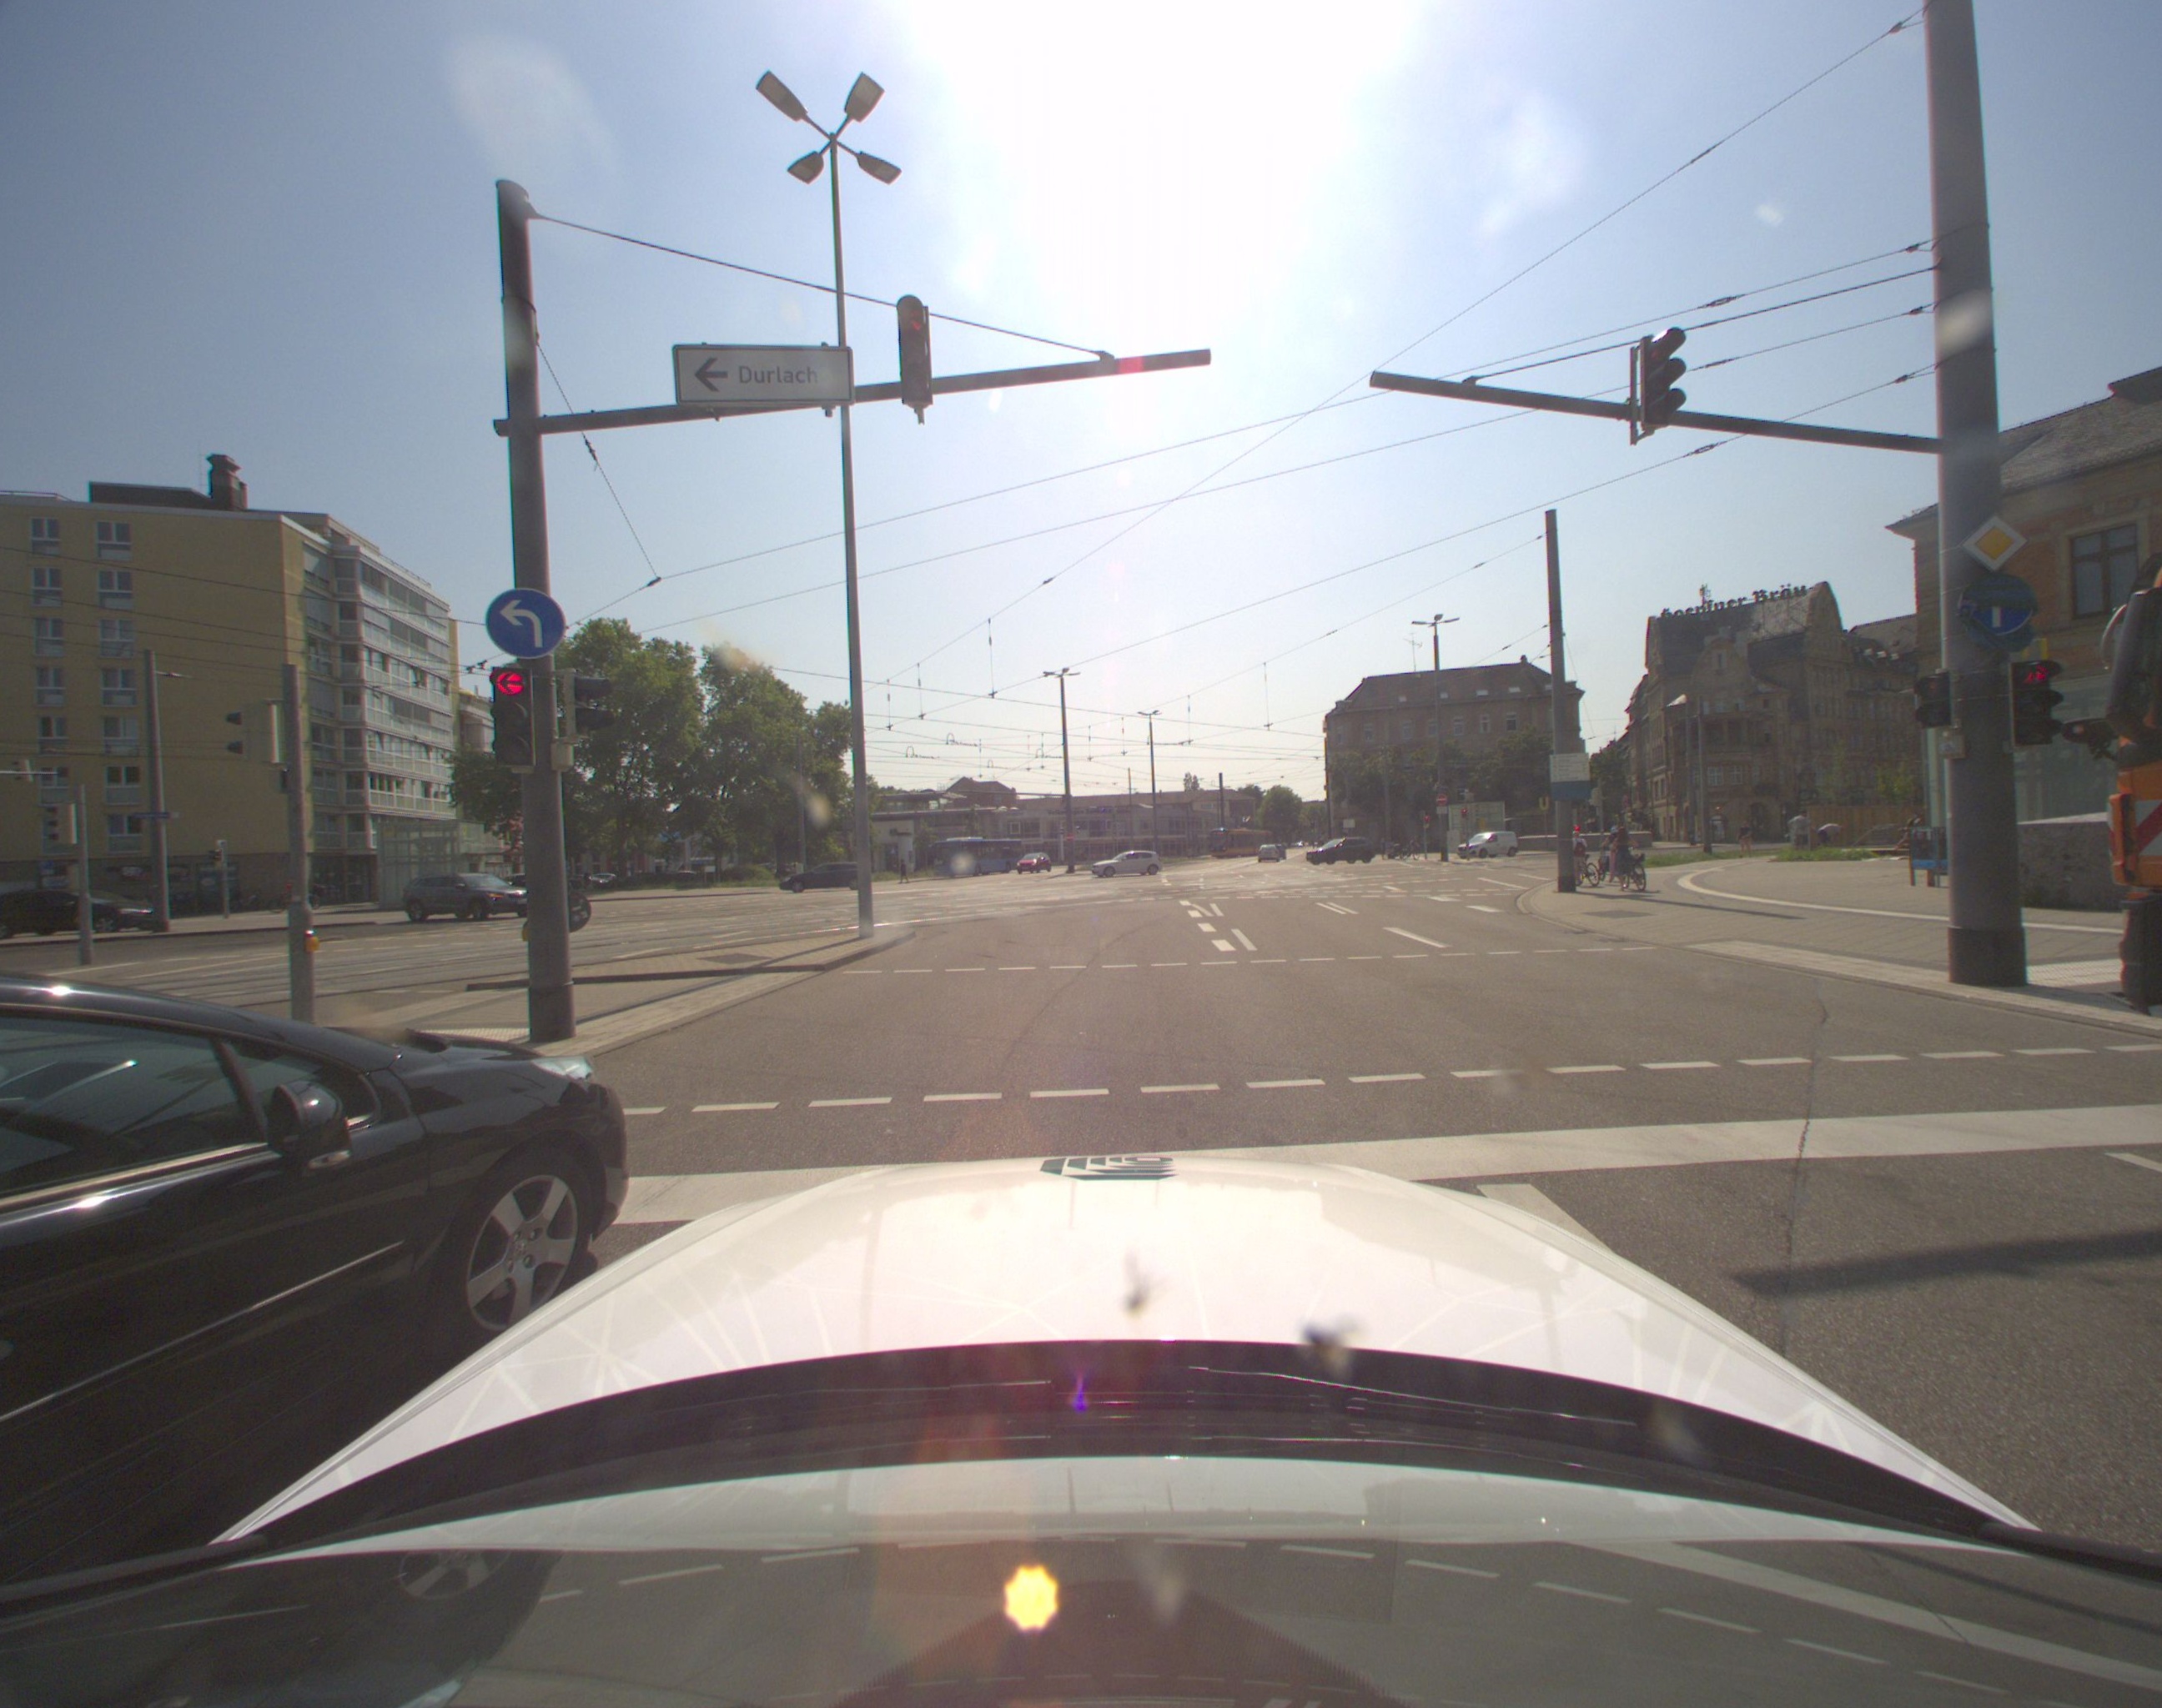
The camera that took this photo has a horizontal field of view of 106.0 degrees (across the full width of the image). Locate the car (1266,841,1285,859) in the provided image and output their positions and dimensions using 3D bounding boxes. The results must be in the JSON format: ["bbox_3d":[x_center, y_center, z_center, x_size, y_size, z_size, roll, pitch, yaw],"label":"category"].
[{"bbox_3d":[18.572,-0.371,77.802,1.625,1.618,4.016,-2,0,14],"label":"car"}]

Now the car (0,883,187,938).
[{"bbox_3d":[-33.802,1.904,27.778,4.194,1.560,1.734,-2,0,-9],"label":"car"}]

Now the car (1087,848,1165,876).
[{"bbox_3d":[2.606,0.473,47.302,4.199,1.415,1.765,-2,0,-18],"label":"car"}]

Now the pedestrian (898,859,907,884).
[{"bbox_3d":[-12.365,1.232,56.349,0.554,1.684,0.451,-2,0,-17],"label":"pedestrian"}]

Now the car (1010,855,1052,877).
[{"bbox_3d":[-3.840,0.939,63.601,1.735,1.552,4.020,-3,0,20],"label":"car"}]

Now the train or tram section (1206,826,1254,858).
[{"bbox_3d":[17.854,-1.459,96.704,2.564,3.516,10.963,-2,0,26],"label":"train or tram section"}]

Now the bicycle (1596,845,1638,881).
[{"bbox_3d":[16.407,0.256,24.983,0.532,1.055,1.660,-2,0,14],"label":"bicycle"}]

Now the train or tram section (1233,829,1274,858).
[{"bbox_3d":[22.522,-1.404,105.912,2.564,3.516,9.717,-2,0,27],"label":"train or tram section"}]

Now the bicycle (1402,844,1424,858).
[{"bbox_3d":[24.392,-0.215,59.832,0.470,1.055,1.643,-2,0,-18],"label":"bicycle"}]

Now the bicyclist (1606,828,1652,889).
[{"bbox_3d":[14.125,0.115,21.006,0.730,1.517,0.665,-2,0,6],"label":"bicyclist"}]

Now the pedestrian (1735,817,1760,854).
[{"bbox_3d":[29.644,-0.820,36.237,0.794,1.575,0.729,-2,0,-44],"label":"pedestrian"}]

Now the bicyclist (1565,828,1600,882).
[{"bbox_3d":[14.643,0.032,23.796,0.623,1.517,0.715,-2,0,14],"label":"bicyclist"}]

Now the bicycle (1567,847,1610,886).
[{"bbox_3d":[14.648,0.344,23.537,0.532,1.055,1.660,-2,0,14],"label":"bicycle"}]

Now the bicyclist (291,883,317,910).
[{"bbox_3d":[-43.586,2.377,45.673,0.873,1.475,0.543,-2,0,-16],"label":"bicyclist"}]

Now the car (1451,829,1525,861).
[{"bbox_3d":[28.030,-0.640,56.081,4.630,2.013,1.985,-2,0,-23],"label":"car"}]

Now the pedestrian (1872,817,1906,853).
[{"bbox_3d":[31.839,-0.742,32.100,0.768,1.399,0.687,-2,0,-23],"label":"pedestrian"}]

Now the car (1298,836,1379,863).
[{"bbox_3d":[16.414,-0.303,51.876,4.624,1.505,1.987,-2,0,-19],"label":"car"}]

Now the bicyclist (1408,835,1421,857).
[{"bbox_3d":[24.449,-0.576,59.657,0.614,1.528,0.517,-2,0,-22],"label":"bicyclist"}]

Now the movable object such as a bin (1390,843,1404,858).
[{"bbox_3d":[24.002,-0.256,61.822,0.812,1.077,0.510,-2,0,-9],"label":"movable object such as a bin"}]

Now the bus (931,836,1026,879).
[{"bbox_3d":[-8.127,0.205,66.986,2.541,3.082,12.082,-3,0,19],"label":"bus"}]

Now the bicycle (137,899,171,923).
[{"bbox_3d":[-50.684,3.098,44.527,3.220,1.204,0.916,-3,0,36],"label":"bicycle"}]

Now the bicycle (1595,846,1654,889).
[{"bbox_3d":[14.182,0.344,21.297,0.489,1.055,1.826,-2,0,7],"label":"bicycle"}]

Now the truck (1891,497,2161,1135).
[{"bbox_3d":[6.398,-0.209,1.882,2.481,3.134,6.869,-2,0,4],"label":"truck"}]

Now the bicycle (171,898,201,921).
[{"bbox_3d":[-49.059,3.036,44.629,3.220,1.204,0.699,-3,0,36],"label":"bicycle"}]

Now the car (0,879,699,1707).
[{"bbox_3d":[-2.685,0.815,1.574,1.756,1.388,3.788,-1,0,7],"label":"car"}]

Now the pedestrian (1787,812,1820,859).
[{"bbox_3d":[27.151,-0.688,30.610,0.549,1.724,0.812,-2,0,-39],"label":"pedestrian"}]

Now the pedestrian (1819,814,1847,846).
[{"bbox_3d":[29.415,-0.947,31.853,0.658,1.214,0.531,-2,0,30],"label":"pedestrian"}]

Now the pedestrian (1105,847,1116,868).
[{"bbox_3d":[2.151,0.260,58.877,0.678,1.443,0.364,-2,0,-15],"label":"pedestrian"}]

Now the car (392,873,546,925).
[{"bbox_3d":[-21.462,1.579,28.600,4.497,1.600,1.778,-2,0,12],"label":"car"}]

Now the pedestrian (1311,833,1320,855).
[{"bbox_3d":[33.381,-1.384,115.941,0.978,3.017,0.977,-2,0,7],"label":"pedestrian"}]

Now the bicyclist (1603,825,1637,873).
[{"bbox_3d":[16.284,-0.147,24.619,0.526,1.393,0.897,-2,0,14],"label":"bicyclist"}]

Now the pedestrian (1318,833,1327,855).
[{"bbox_3d":[34.062,-1.374,114.831,0.978,3.017,0.977,-2,0,7],"label":"pedestrian"}]

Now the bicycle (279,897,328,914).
[{"bbox_3d":[-43.602,2.885,45.683,1.860,0.802,0.604,-2,0,-17],"label":"bicycle"}]

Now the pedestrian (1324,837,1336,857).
[{"bbox_3d":[20.948,-0.590,68.557,0.699,1.603,0.572,-2,0,-6],"label":"pedestrian"}]

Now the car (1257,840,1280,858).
[{"bbox_3d":[15.981,-0.475,69.449,1.757,1.415,4.205,-2,0,14],"label":"car"}]

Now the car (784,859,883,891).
[{"bbox_3d":[-12.822,1.077,42.270,4.766,1.415,1.765,-2,0,-18],"label":"car"}]

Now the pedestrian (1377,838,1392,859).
[{"bbox_3d":[23.127,-0.395,62.117,0.849,1.545,0.527,-2,0,-6],"label":"pedestrian"}]
